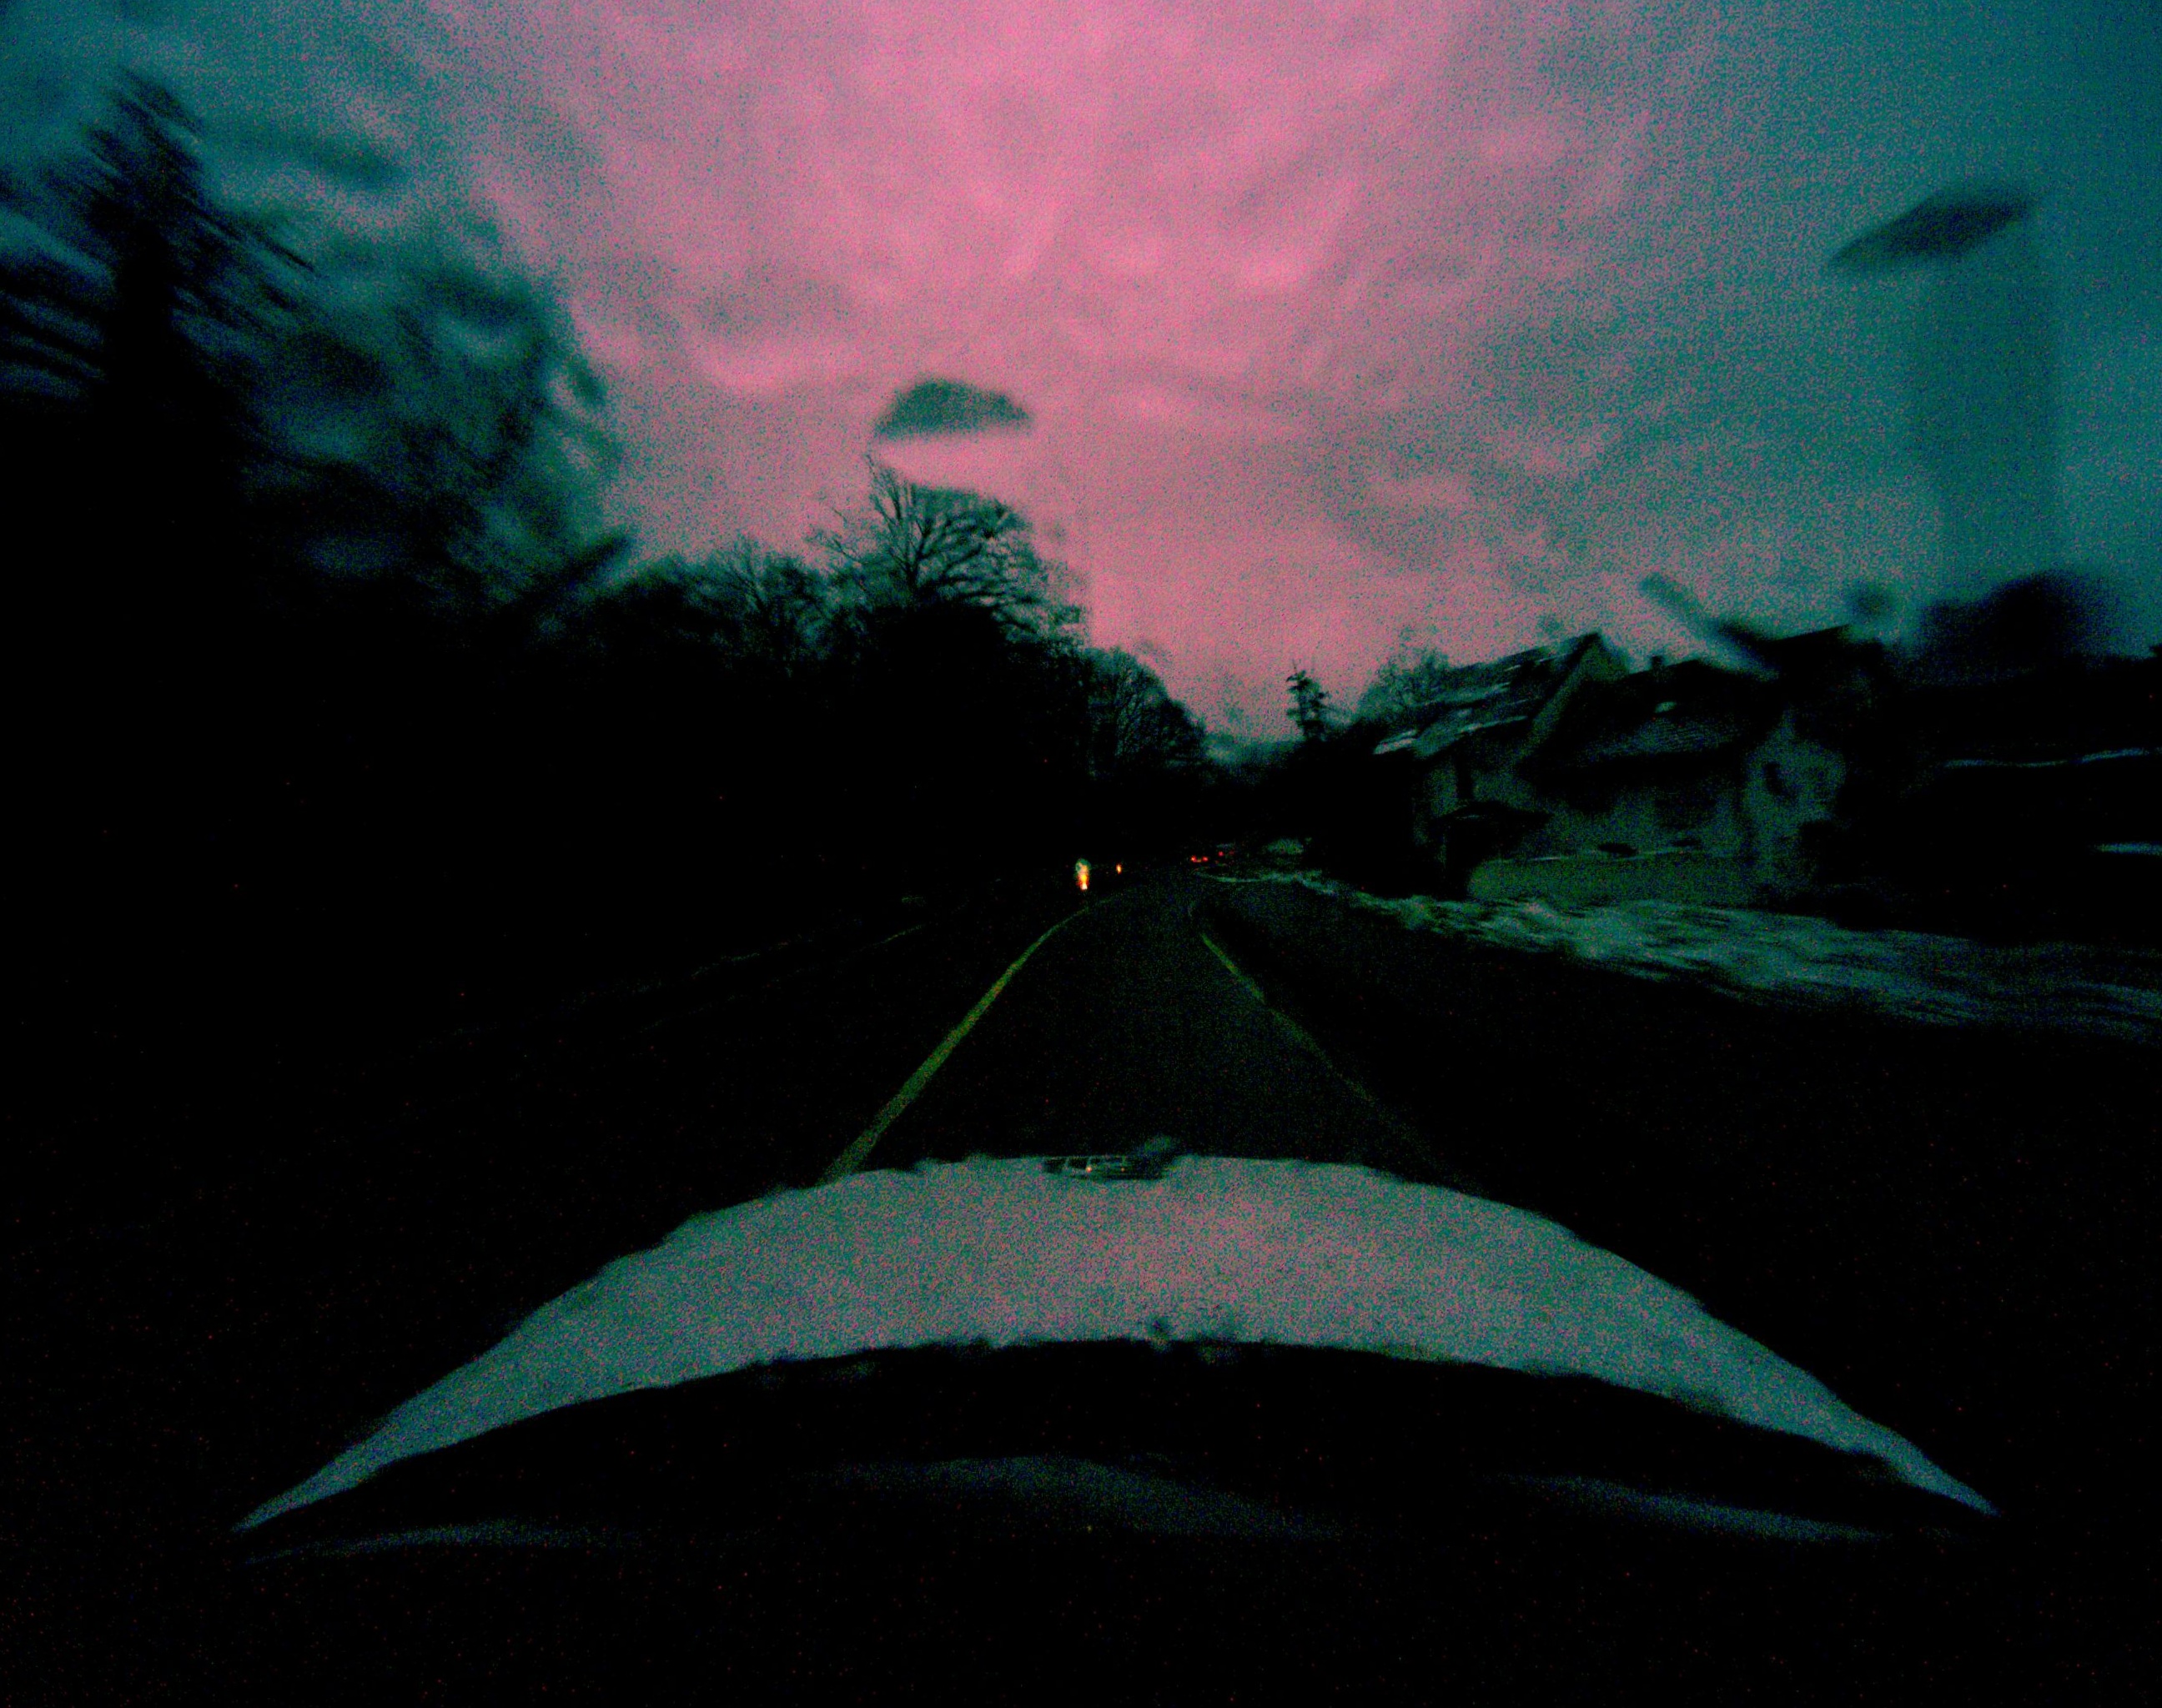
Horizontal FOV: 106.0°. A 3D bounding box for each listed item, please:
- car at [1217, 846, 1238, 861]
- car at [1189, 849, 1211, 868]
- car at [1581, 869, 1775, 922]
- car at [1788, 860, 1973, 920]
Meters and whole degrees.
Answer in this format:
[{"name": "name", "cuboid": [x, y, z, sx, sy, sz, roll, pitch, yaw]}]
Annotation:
[{"name": "car", "cuboid": [17.221, -0.086, 95.510, 1.918, 1.676, 4.017, -2, 0, 16]}, {"name": "car", "cuboid": [12.277, 0.445, 83.796, 1.920, 1.781, 4.013, -2, 0, 11]}, {"name": "car", "cuboid": [19.304, 1.295, 26.487, 4.847, 1.488, 1.964, -2, 0, 44]}, {"name": "car", "cuboid": [24.876, 1.059, 25.611, 1.935, 1.591, 4.348, -2, 0, 8]}]
